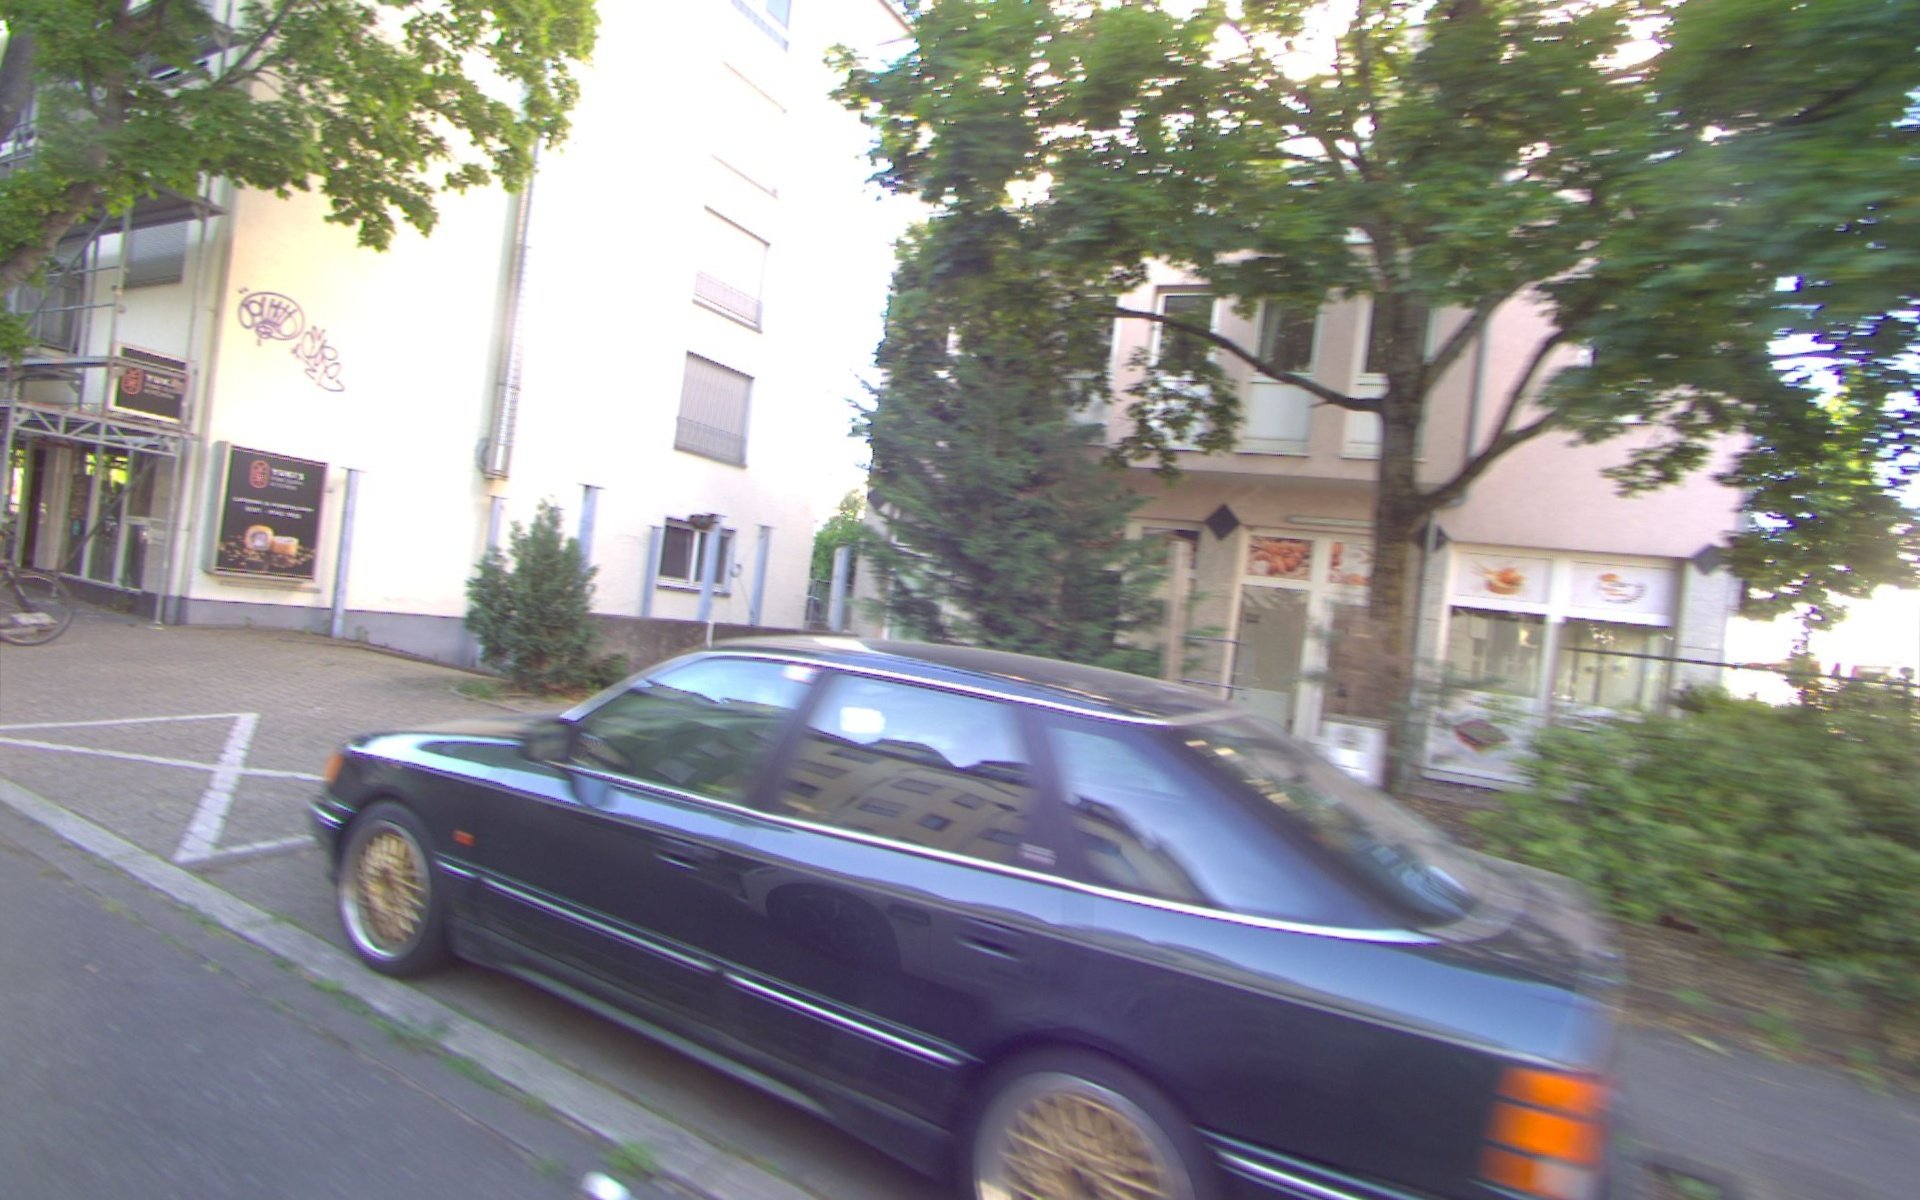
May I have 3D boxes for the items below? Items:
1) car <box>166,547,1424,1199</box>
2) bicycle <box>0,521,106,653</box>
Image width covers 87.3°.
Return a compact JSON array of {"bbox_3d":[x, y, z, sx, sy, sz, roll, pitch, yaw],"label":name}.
[{"bbox_3d":[-0.863,0.765,3.777,4.493,1.404,1.711,6,-1,30],"label":"car"},{"bbox_3d":[-9.143,-0.139,9.174,0.713,1.181,1.985,7,2,13],"label":"bicycle"}]
